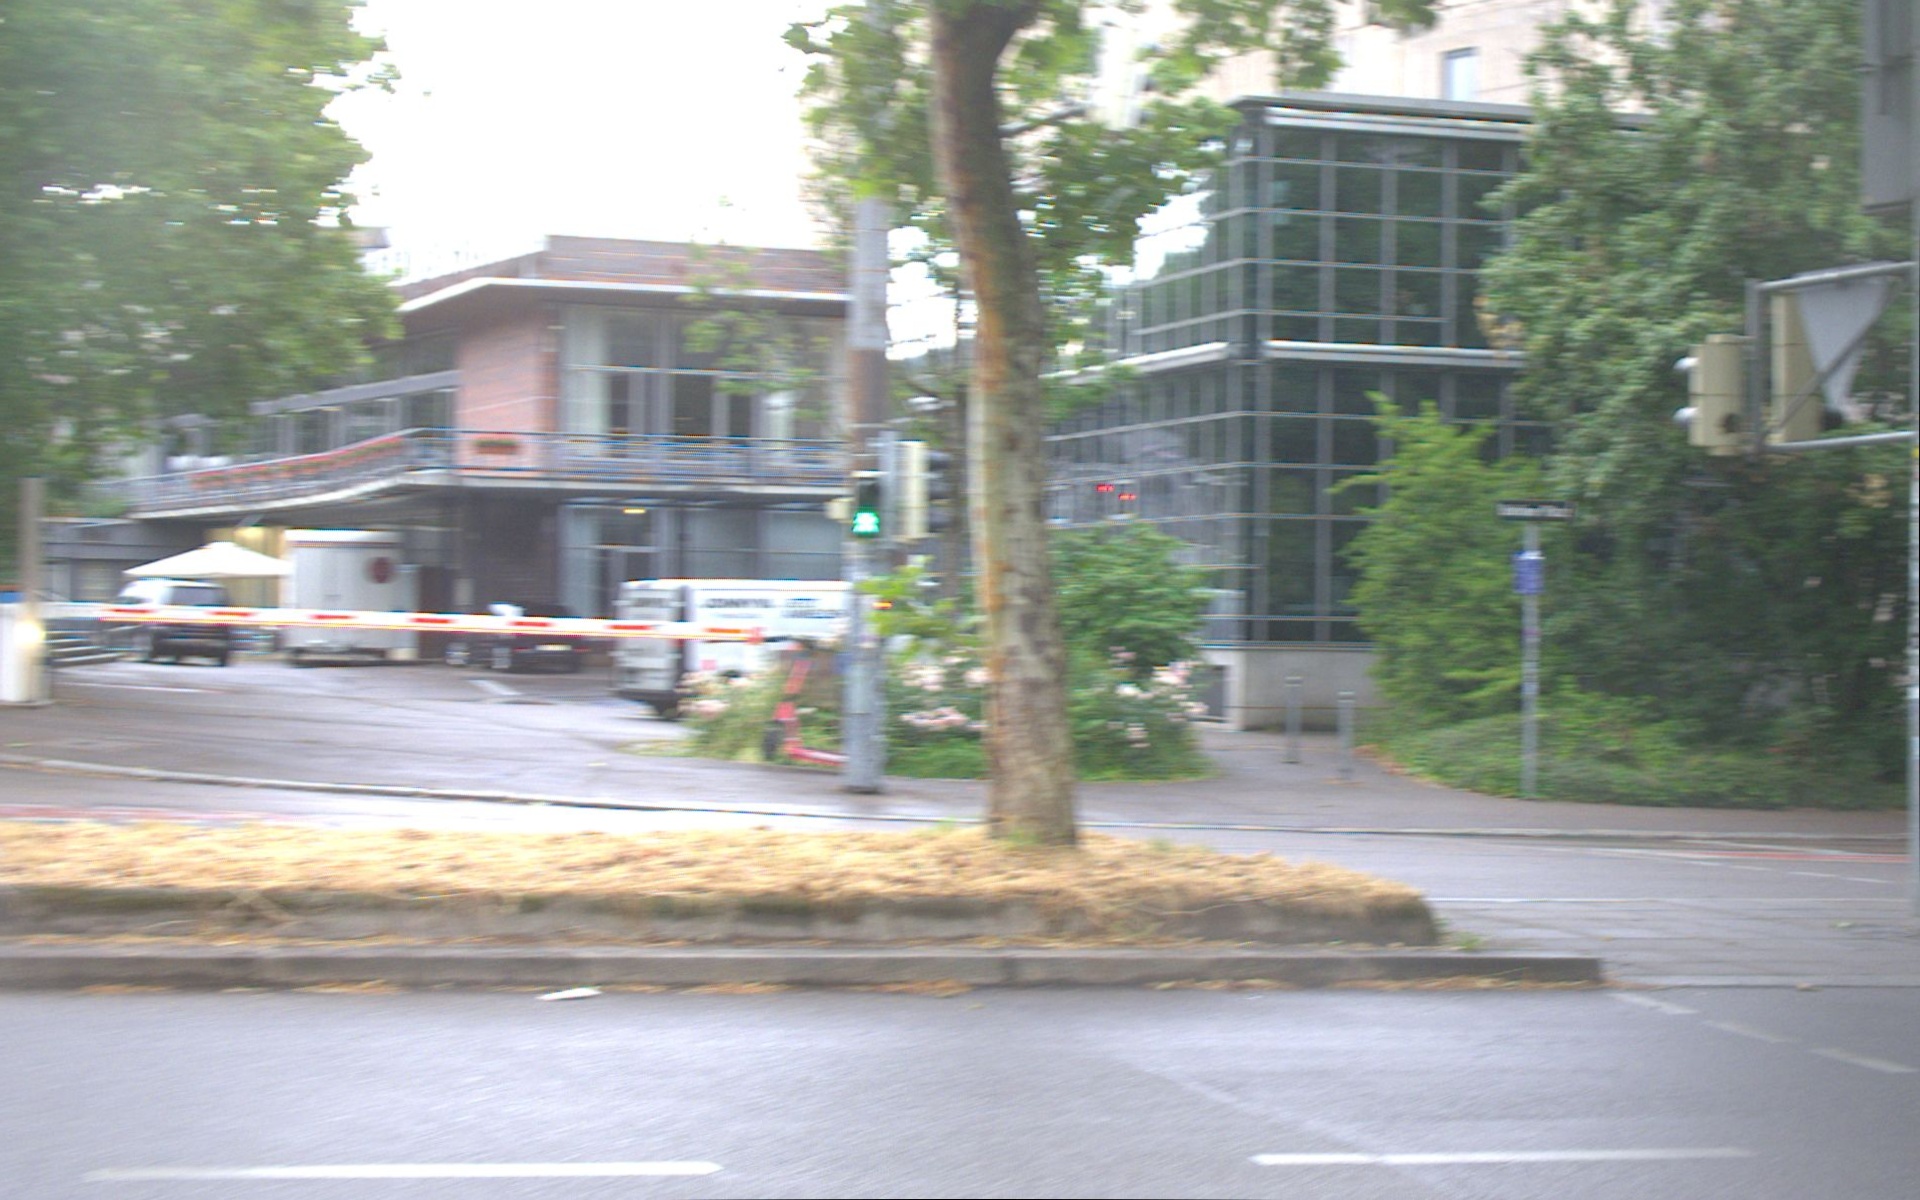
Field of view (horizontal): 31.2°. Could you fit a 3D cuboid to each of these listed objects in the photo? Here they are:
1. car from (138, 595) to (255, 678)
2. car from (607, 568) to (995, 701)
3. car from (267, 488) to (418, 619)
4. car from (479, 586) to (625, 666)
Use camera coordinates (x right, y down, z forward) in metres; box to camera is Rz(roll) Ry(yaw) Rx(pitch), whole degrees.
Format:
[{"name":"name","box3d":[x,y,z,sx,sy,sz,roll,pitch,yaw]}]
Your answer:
[{"name":"car","box3d":[-15.968,0.739,72.094,2.019,1.545,4.351,2,1,-8]},{"name":"car","box3d":[-2.196,0.500,48.323,5.200,1.725,1.874,1,1,-35]},{"name":"car","box3d":[-13.722,-1.063,75.993,2.731,2.686,6.925,2,1,-14]},{"name":"car","box3d":[-8.888,0.541,74.598,2.019,1.545,4.351,2,1,-22]}]
